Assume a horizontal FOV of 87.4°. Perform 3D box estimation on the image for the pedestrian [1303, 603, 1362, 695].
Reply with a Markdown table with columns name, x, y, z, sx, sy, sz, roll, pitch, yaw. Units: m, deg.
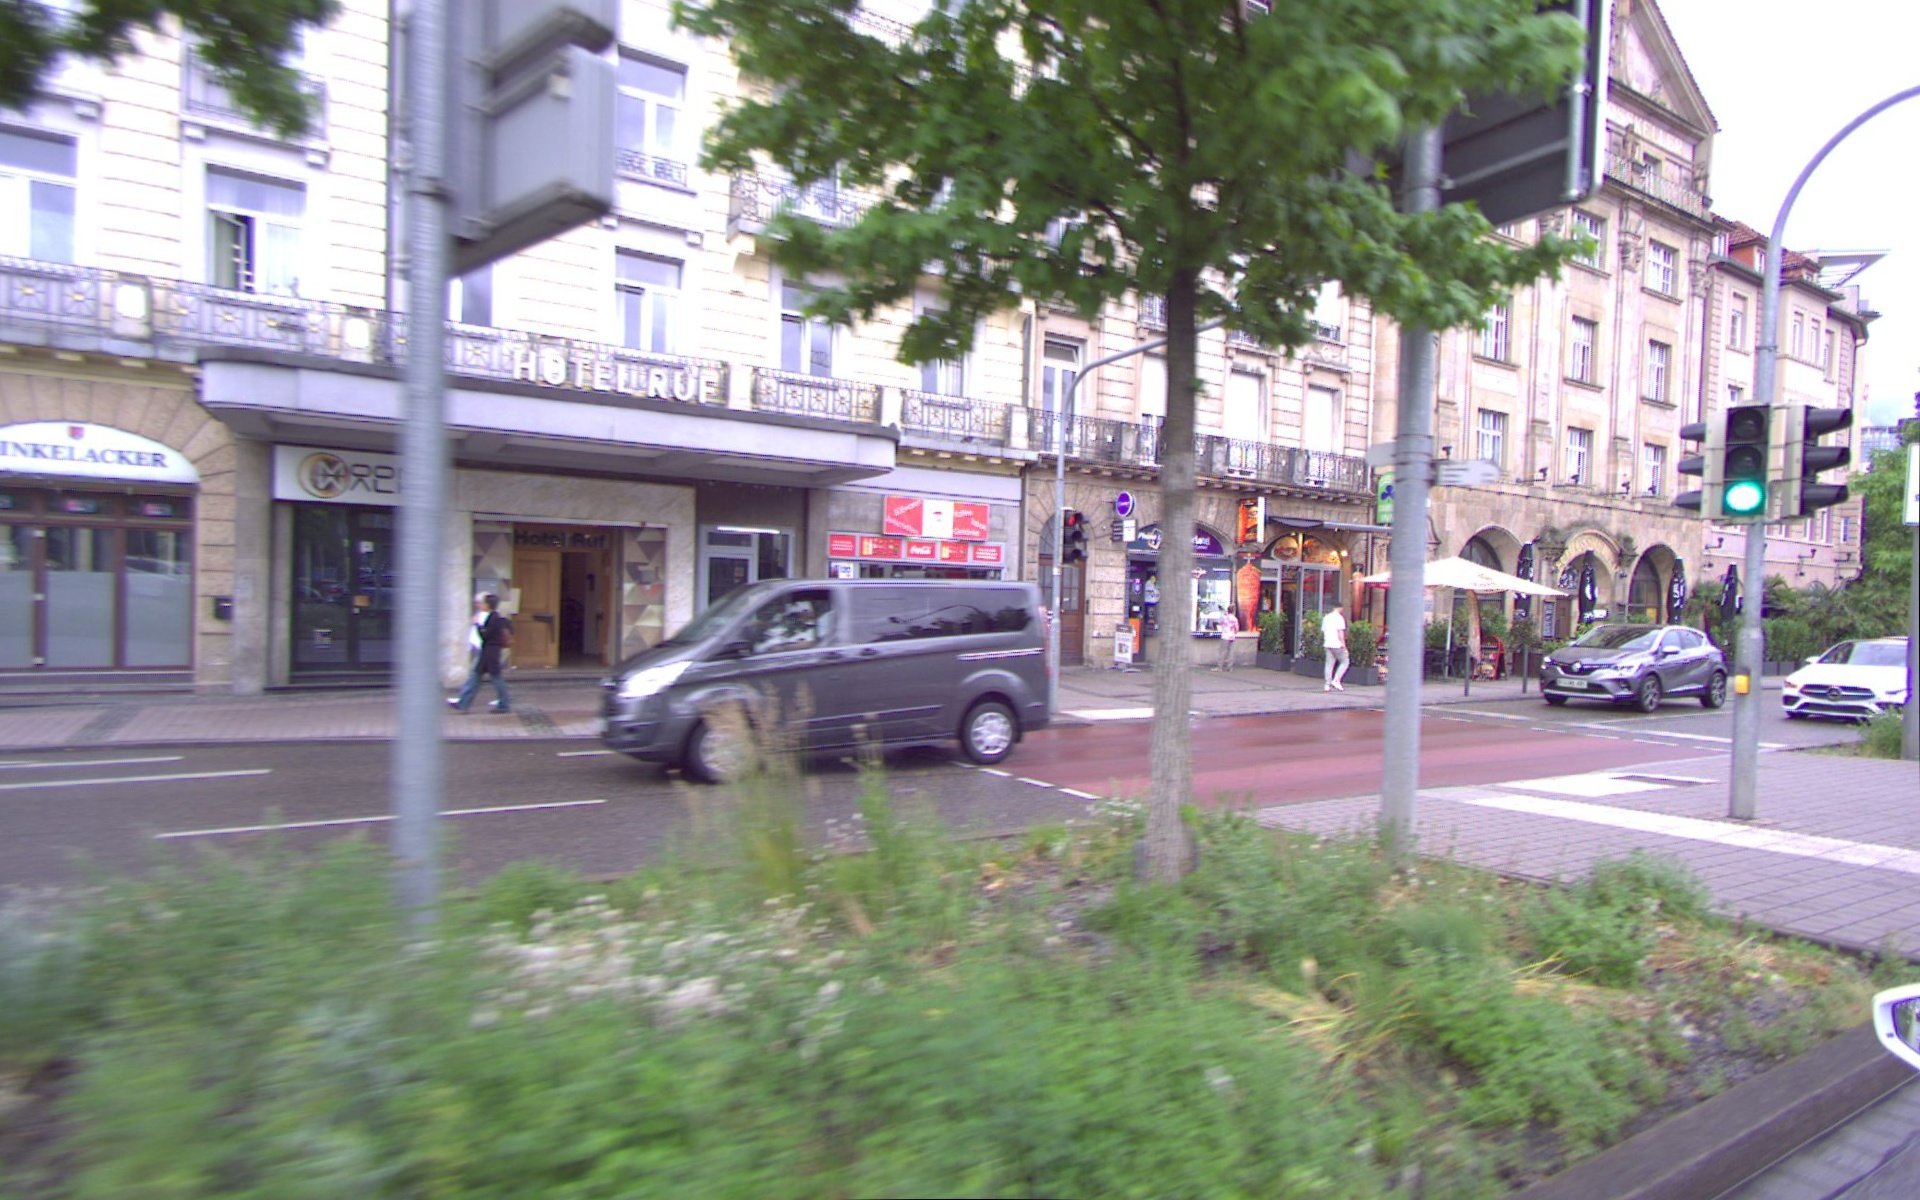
| name | x | y | z | sx | sy | sz | roll | pitch | yaw |
| --- | --- | --- | --- | --- | --- | --- | --- | --- | --- |
| pedestrian | 7.688 | 1.002 | 20.747 | 0.741 | 1.836 | 0.875 | 1 | -2 | -30 |

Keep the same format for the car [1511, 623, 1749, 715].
| name | x | y | z | sx | sy | sz | roll | pitch | yaw |
| --- | --- | --- | --- | --- | --- | --- | --- | --- | --- |
| car | 12.854 | 1.266 | 19.237 | 4.578 | 1.564 | 1.984 | 2 | -2 | -30 |

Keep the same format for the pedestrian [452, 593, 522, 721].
| name | x | y | z | sx | sy | sz | roll | pitch | yaw |
| --- | --- | --- | --- | --- | --- | --- | --- | --- | --- |
| pedestrian | -6.499 | 0.774 | 13.793 | 0.797 | 1.685 | 0.678 | 1 | -2 | -30 |

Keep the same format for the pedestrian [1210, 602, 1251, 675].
| name | x | y | z | sx | sy | sz | roll | pitch | yaw |
| --- | --- | --- | --- | --- | --- | --- | --- | --- | --- |
| pedestrian | 6.464 | 0.906 | 24.024 | 0.532 | 1.686 | 0.661 | 2 | 2 | -38 |

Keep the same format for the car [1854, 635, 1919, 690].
| name | x | y | z | sx | sy | sz | roll | pitch | yaw |
| --- | --- | --- | --- | --- | --- | --- | --- | --- | --- |
| car | 26.771 | 1.717 | 27.929 | 3.906 | 1.449 | 1.739 | 2 | -2 | -30 |

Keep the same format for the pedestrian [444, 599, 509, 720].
| name | x | y | z | sx | sy | sz | roll | pitch | yaw |
| --- | --- | --- | --- | --- | --- | --- | --- | --- | --- |
| pedestrian | -6.944 | 0.841 | 14.440 | 0.796 | 1.685 | 0.679 | 1 | -2 | -27 |

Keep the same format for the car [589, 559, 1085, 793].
| name | x | y | z | sx | sy | sz | roll | pitch | yaw |
| --- | --- | --- | --- | --- | --- | --- | --- | --- | --- |
| car | -1.246 | 0.751 | 10.841 | 4.939 | 2.040 | 1.985 | 2 | -2 | -29 |

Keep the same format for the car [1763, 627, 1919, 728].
| name | x | y | z | sx | sy | sz | roll | pitch | yaw |
| --- | --- | --- | --- | --- | --- | --- | --- | --- | --- |
| car | 16.363 | 1.297 | 17.666 | 4.578 | 1.564 | 1.984 | 2 | -2 | -30 |
